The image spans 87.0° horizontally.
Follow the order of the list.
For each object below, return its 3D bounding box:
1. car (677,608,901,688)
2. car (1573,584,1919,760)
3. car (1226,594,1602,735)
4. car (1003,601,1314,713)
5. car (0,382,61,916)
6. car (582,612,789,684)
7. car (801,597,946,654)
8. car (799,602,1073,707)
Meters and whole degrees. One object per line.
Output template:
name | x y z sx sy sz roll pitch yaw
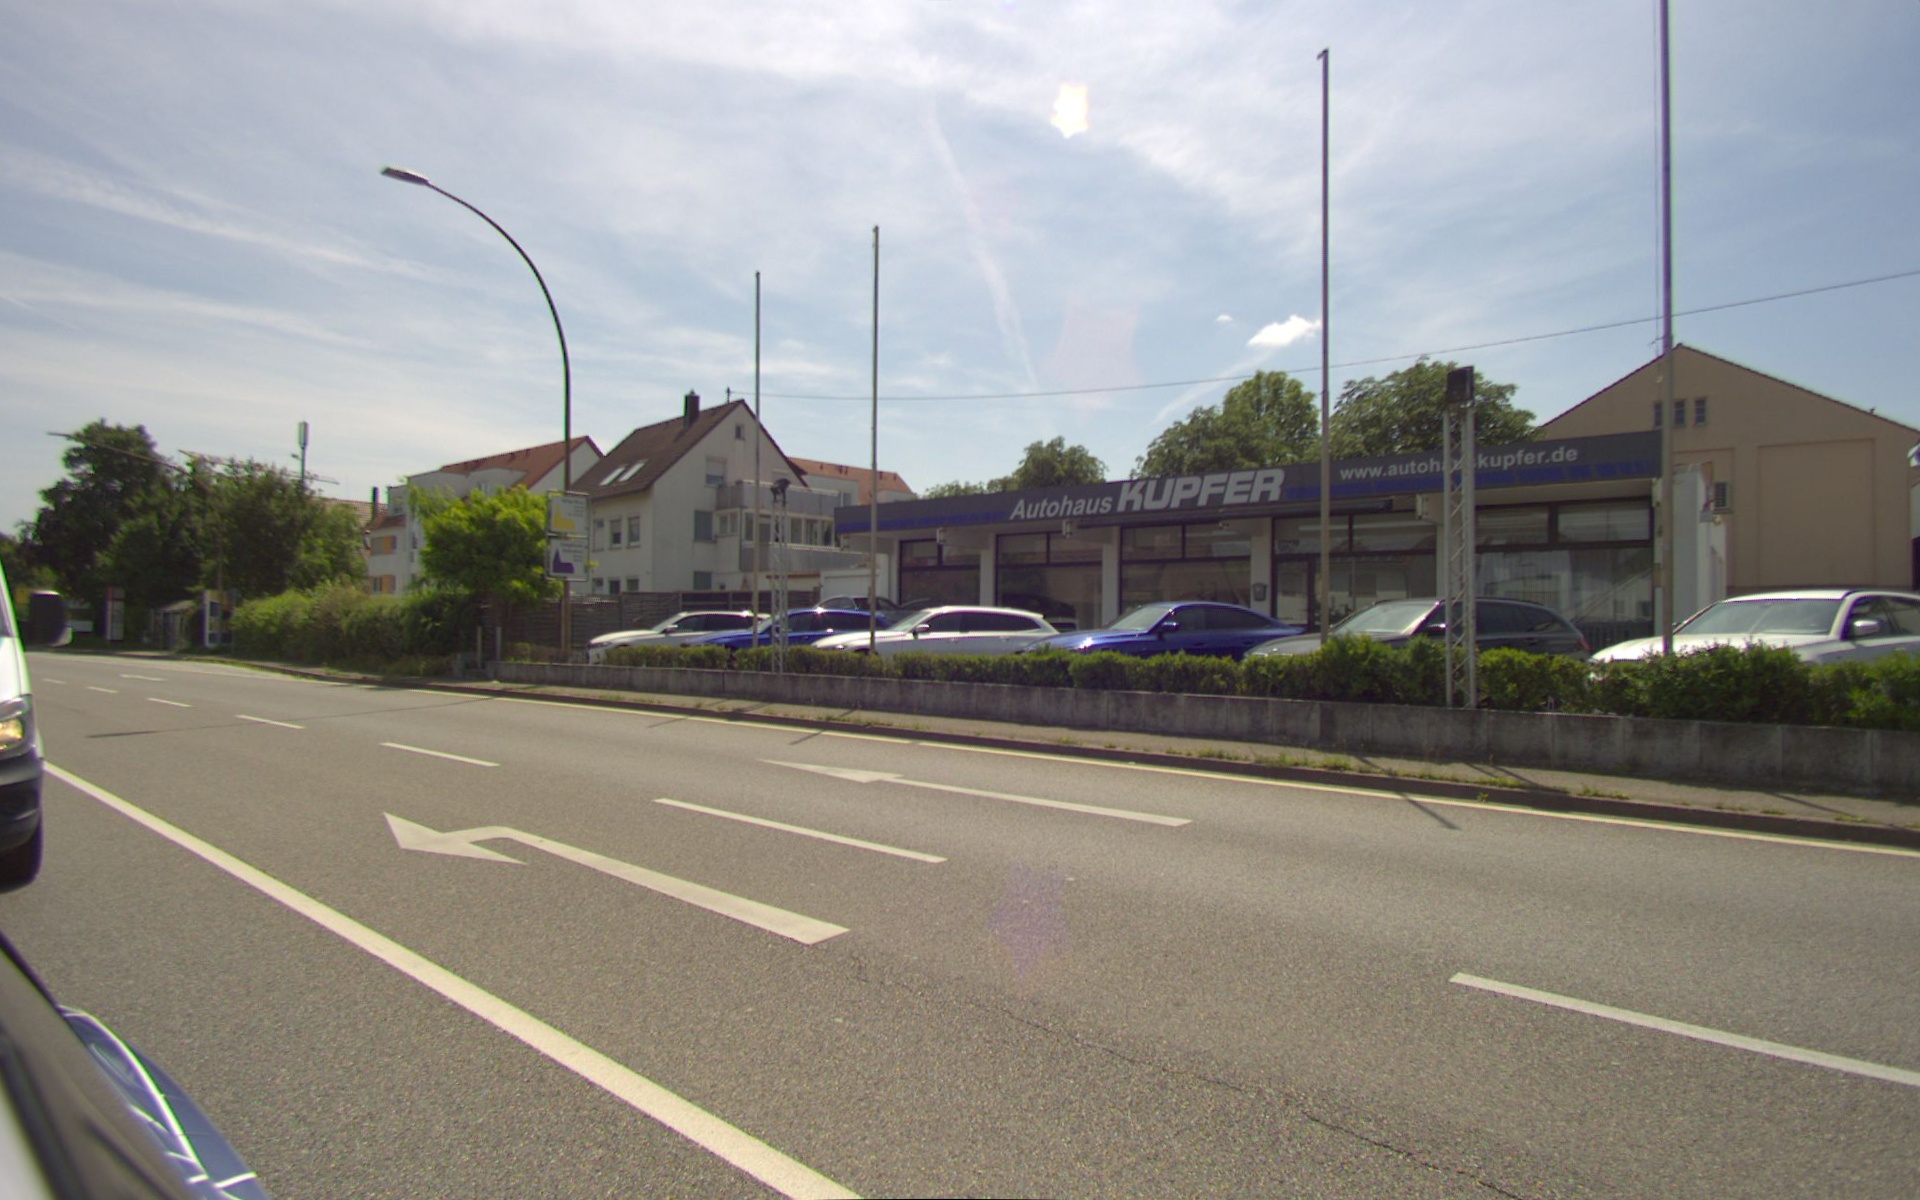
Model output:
car | -3.555 0.927 20.939 4.267 1.458 1.863 -1 0 -21
car | 8.489 0.584 10.197 4.267 1.458 1.863 -1 0 -24
car | 5.640 0.684 12.567 4.267 1.458 1.905 -1 0 -24
car | 2.990 0.777 15.379 4.267 1.458 1.863 -1 0 -19
car | -7.243 0.285 6.126 5.744 2.548 1.915 -2 -1 40
car | -6.434 1.060 23.663 4.501 1.458 1.863 -1 0 -21
car | -2.527 0.703 28.554 1.781 1.475 4.589 -1 -1 -40
car | -0.448 0.879 17.991 4.438 1.458 1.863 -3 1 -19
